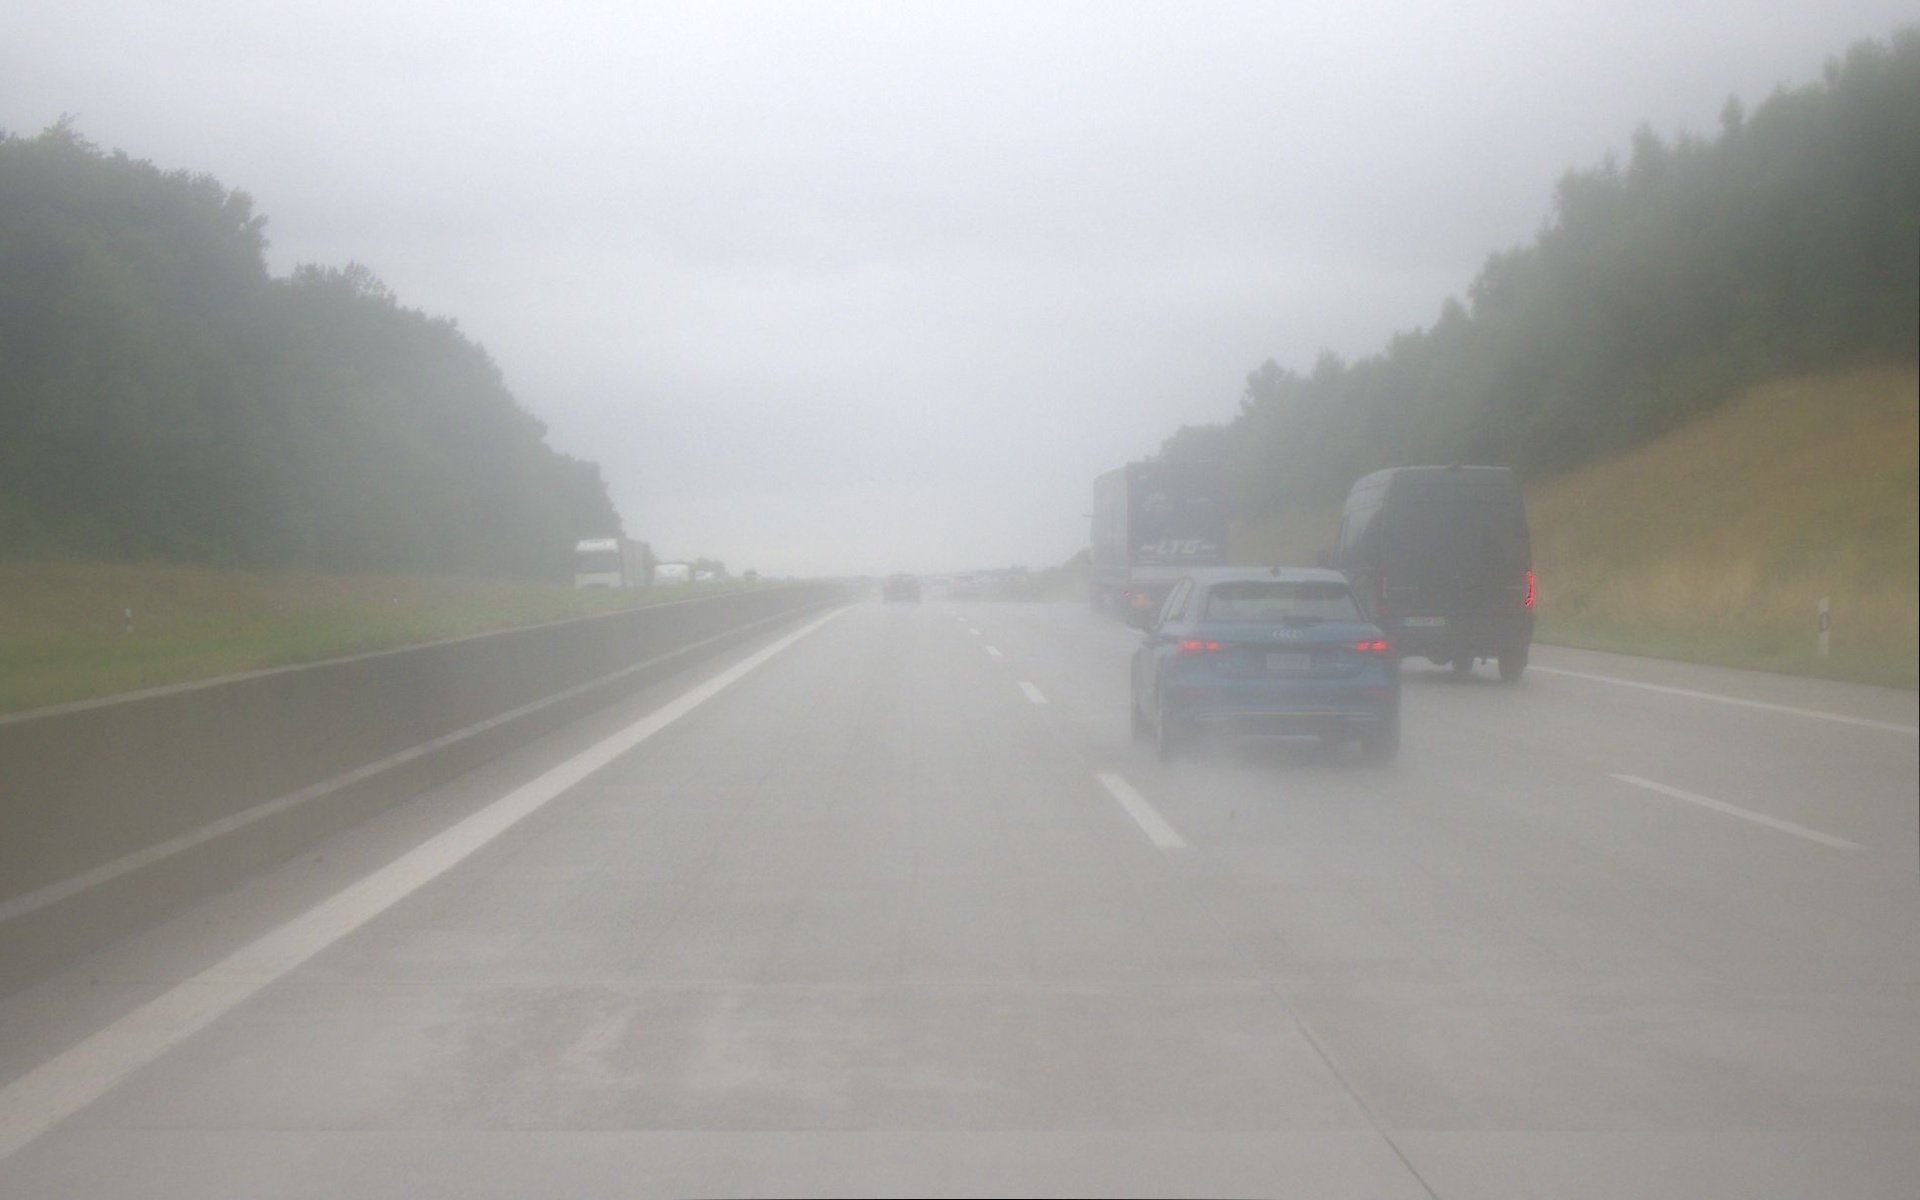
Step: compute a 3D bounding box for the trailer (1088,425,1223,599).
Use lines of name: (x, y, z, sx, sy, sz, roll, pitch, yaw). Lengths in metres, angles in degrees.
trailer: (5.256, -2.244, 95.155, 2.706, 4.365, 15.204, 1, 0, 0)

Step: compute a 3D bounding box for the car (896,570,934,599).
car: (-2.100, -0.713, 159.987, 1.729, 1.326, 4.430, 0, 0, -1)

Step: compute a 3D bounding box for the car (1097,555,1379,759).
car: (2.113, 0.447, 27.327, 1.729, 1.454, 4.672, -1, -1, -1)

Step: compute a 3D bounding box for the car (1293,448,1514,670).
car: (5.664, -0.536, 44.728, 1.941, 2.650, 6.586, 1, 1, -1)
